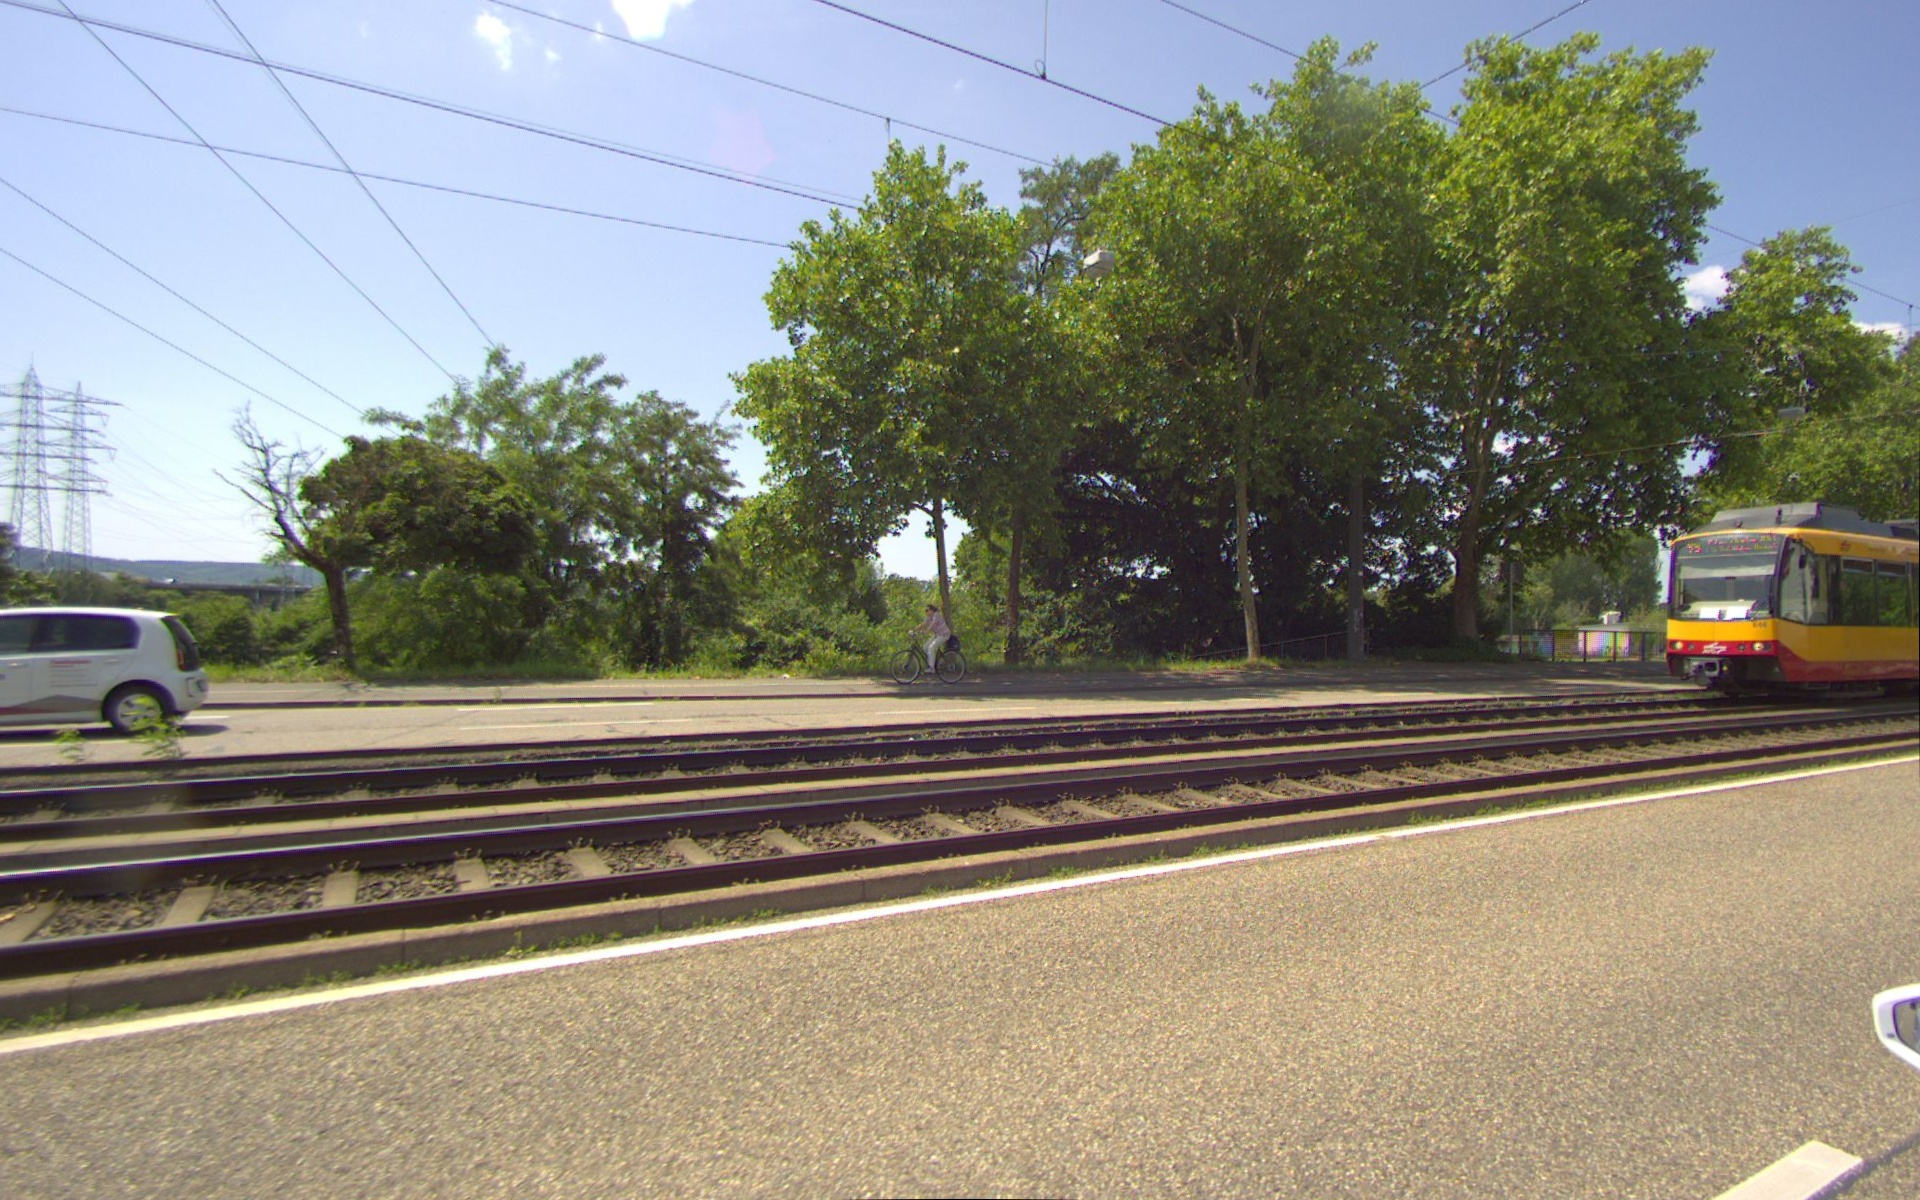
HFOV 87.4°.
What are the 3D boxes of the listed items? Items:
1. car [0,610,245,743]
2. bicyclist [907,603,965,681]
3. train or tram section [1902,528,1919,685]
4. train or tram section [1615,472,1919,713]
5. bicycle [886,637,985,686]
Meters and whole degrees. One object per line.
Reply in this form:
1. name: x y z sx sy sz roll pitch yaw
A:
1. car: -10.760 0.871 11.800 3.679 1.455 1.629 1 -3 -31
2. bicyclist: -0.524 0.893 21.597 1.047 1.639 0.621 1 1 -24
3. train or tram section: 30.368 0.237 28.578 7.906 4.323 3.035 1 -1 -30
4. train or tram section: 20.787 0.030 23.094 15.238 4.323 3.034 1 -1 -30
5. bicycle: -0.524 1.315 21.601 2.026 0.993 0.621 1 1 -24
